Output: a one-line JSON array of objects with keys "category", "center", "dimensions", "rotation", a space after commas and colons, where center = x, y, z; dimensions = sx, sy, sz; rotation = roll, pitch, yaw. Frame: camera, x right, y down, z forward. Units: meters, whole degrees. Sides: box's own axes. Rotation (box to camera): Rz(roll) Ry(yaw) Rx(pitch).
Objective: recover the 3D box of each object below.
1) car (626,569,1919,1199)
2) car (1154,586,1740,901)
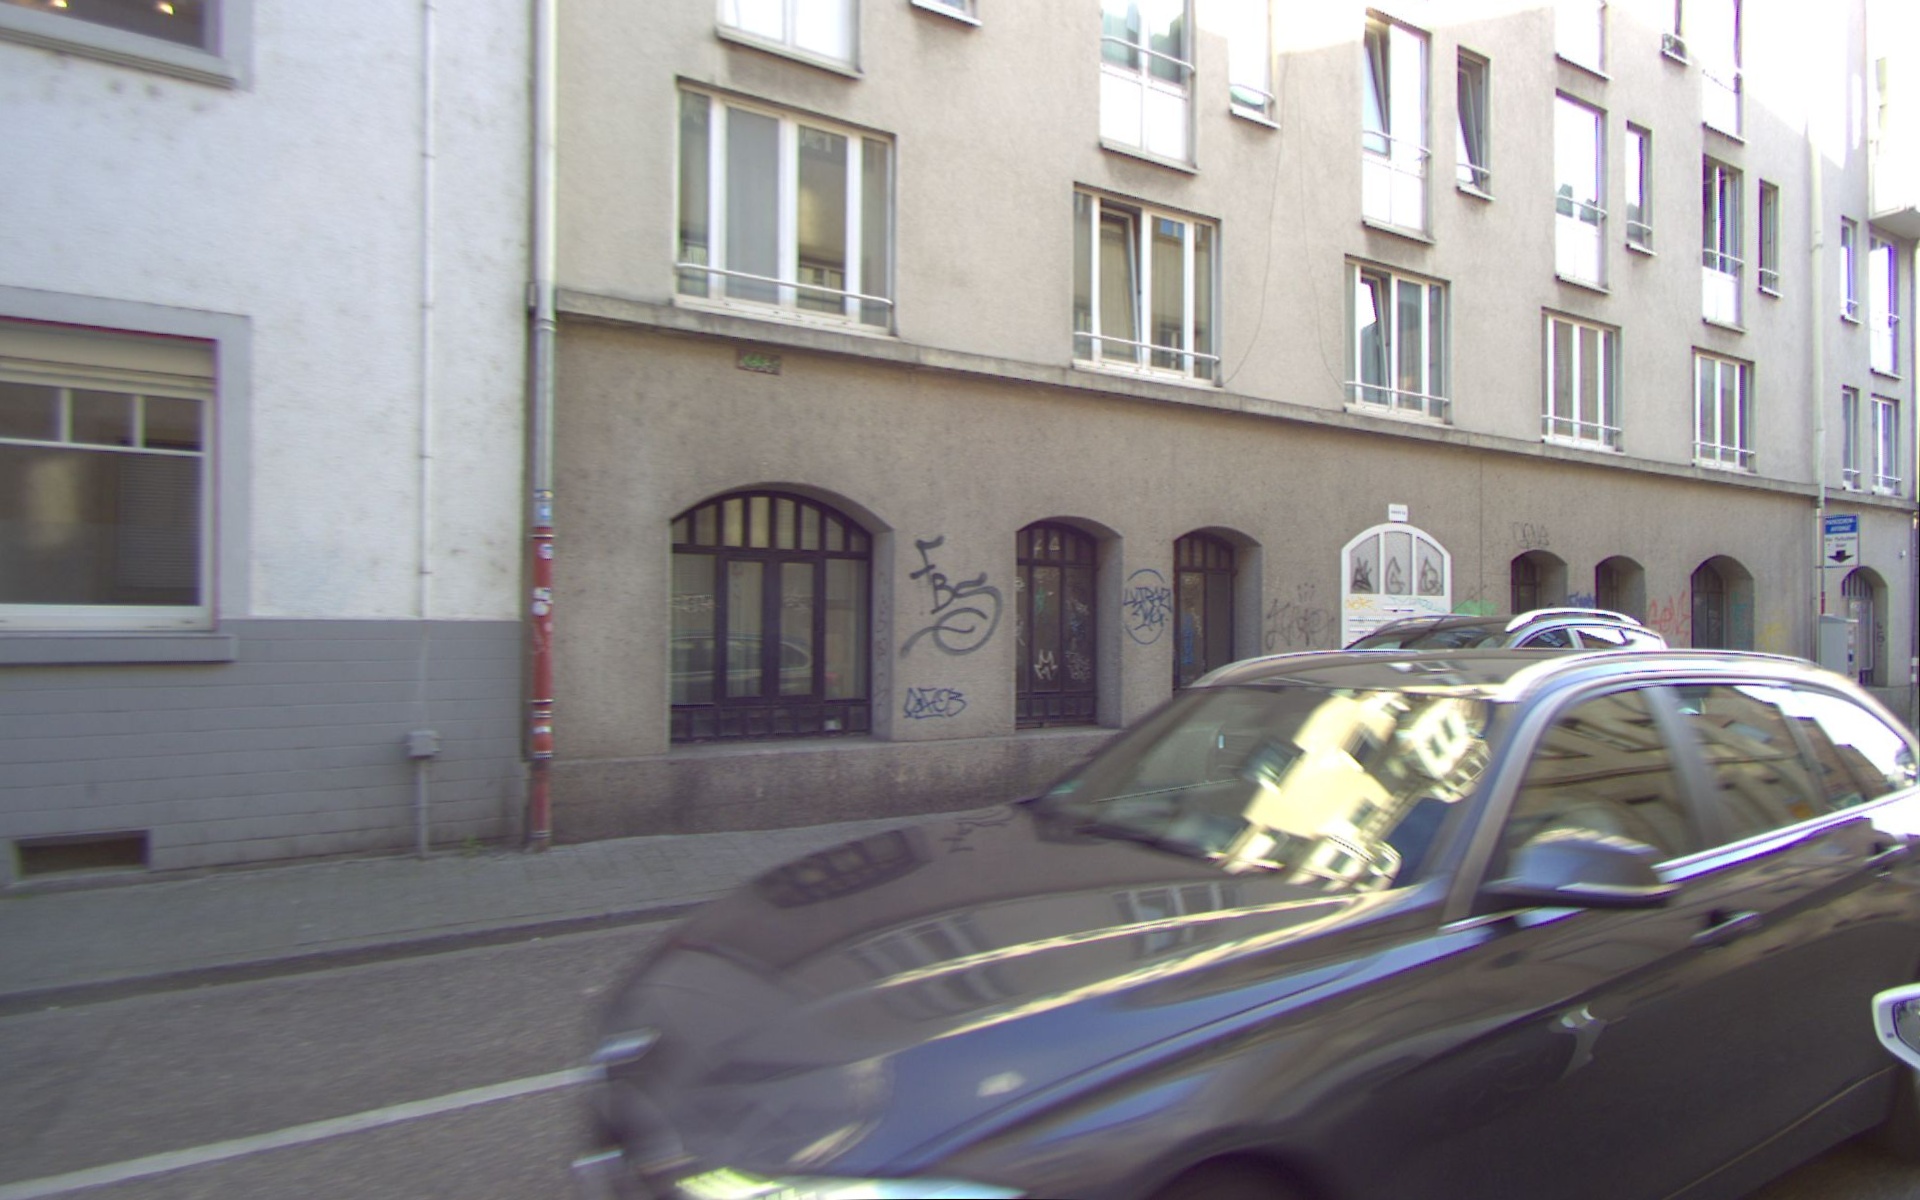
[{"category": "car", "center": [1.368, 0.828, 2.961], "dimensions": [4.152, 1.599, 1.702], "rotation": [2, -2, -37]}, {"category": "car", "center": [3.601, 0.869, 7.316], "dimensions": [4.138, 1.733, 1.733], "rotation": [1, -4, -29]}]
